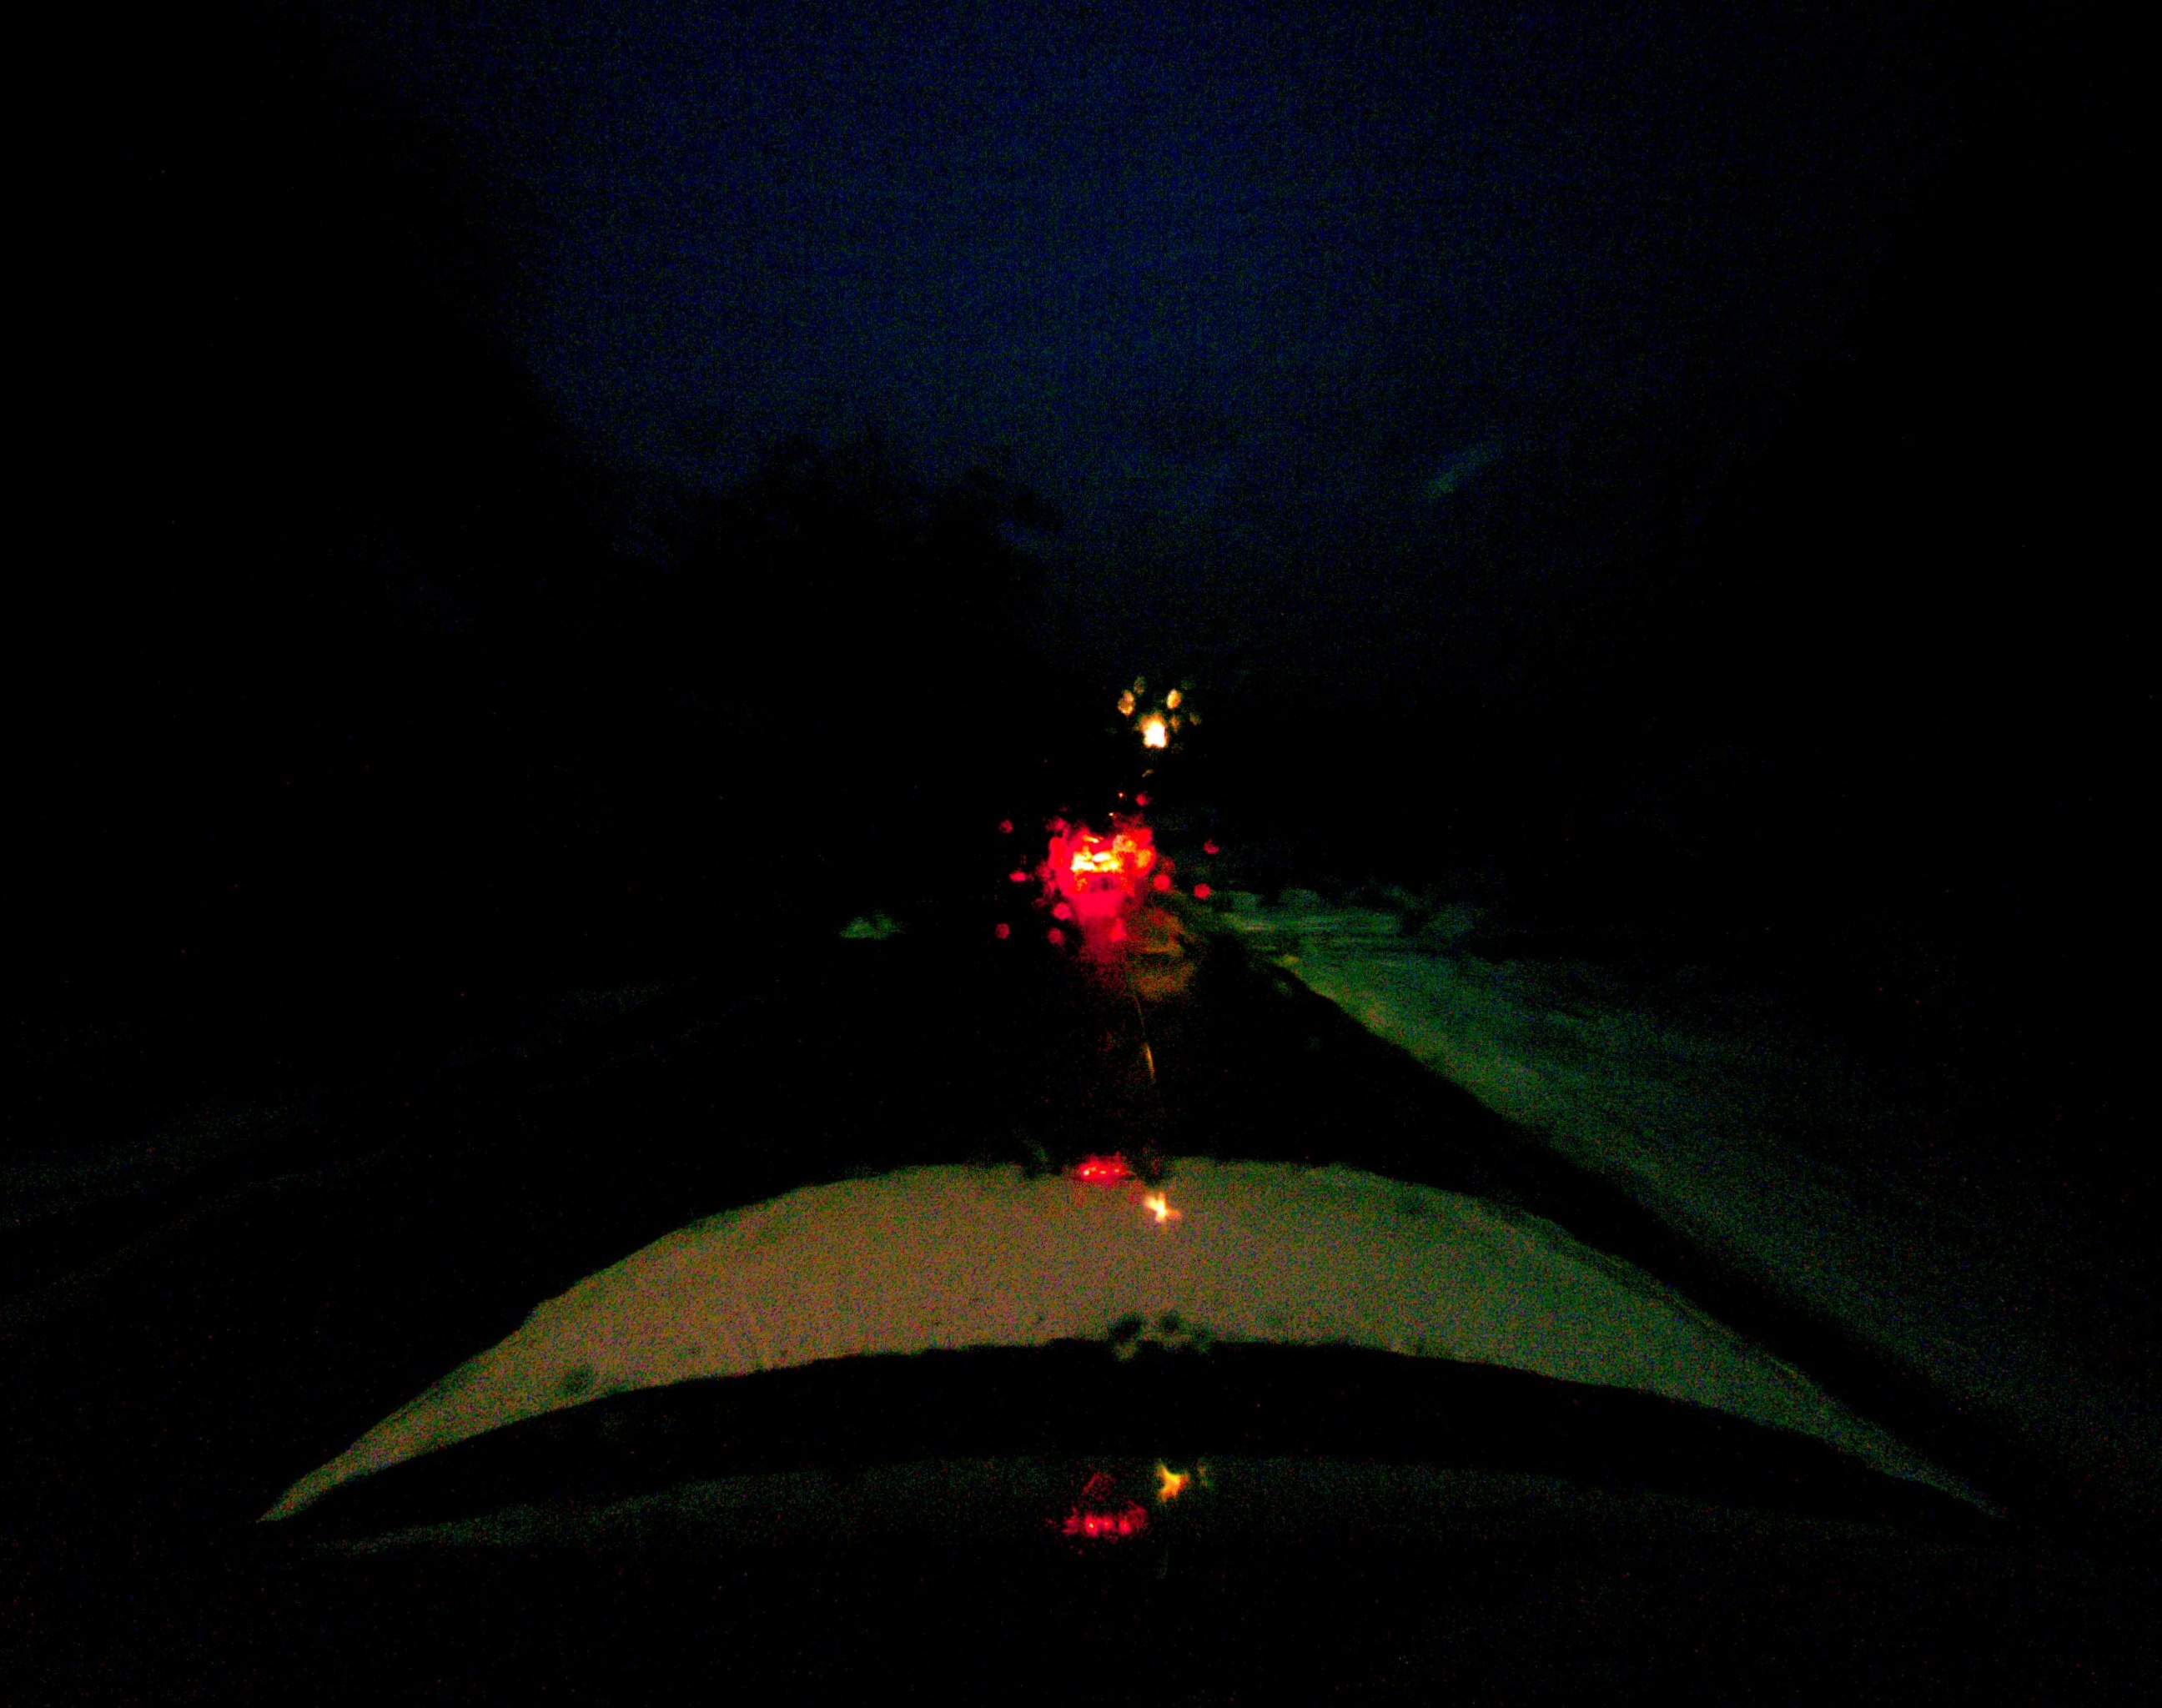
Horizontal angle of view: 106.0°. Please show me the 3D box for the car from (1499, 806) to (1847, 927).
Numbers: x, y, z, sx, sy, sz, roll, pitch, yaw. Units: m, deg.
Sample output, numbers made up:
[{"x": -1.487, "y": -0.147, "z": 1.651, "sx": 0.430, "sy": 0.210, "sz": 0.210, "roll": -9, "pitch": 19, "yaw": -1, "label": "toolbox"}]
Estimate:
[{"x": 9.807, "y": 0.198, "z": 13.853, "sx": 4.370, "sy": 1.657, "sz": 1.867, "roll": -4, "pitch": 1, "yaw": 8, "label": "car"}]

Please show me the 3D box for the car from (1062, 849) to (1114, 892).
[{"x": 0.367, "y": 0.750, "z": 38.397, "sx": 2.266, "sy": 1.840, "sz": 5.008, "roll": -2, "pitch": 0, "yaw": 1, "label": "car"}]

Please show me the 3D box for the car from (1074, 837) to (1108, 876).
[{"x": 0.903, "y": 0.286, "z": 68.966, "sx": 2.425, "sy": 3.019, "sz": 5.329, "roll": -3, "pitch": -2, "yaw": 3, "label": "car"}]
